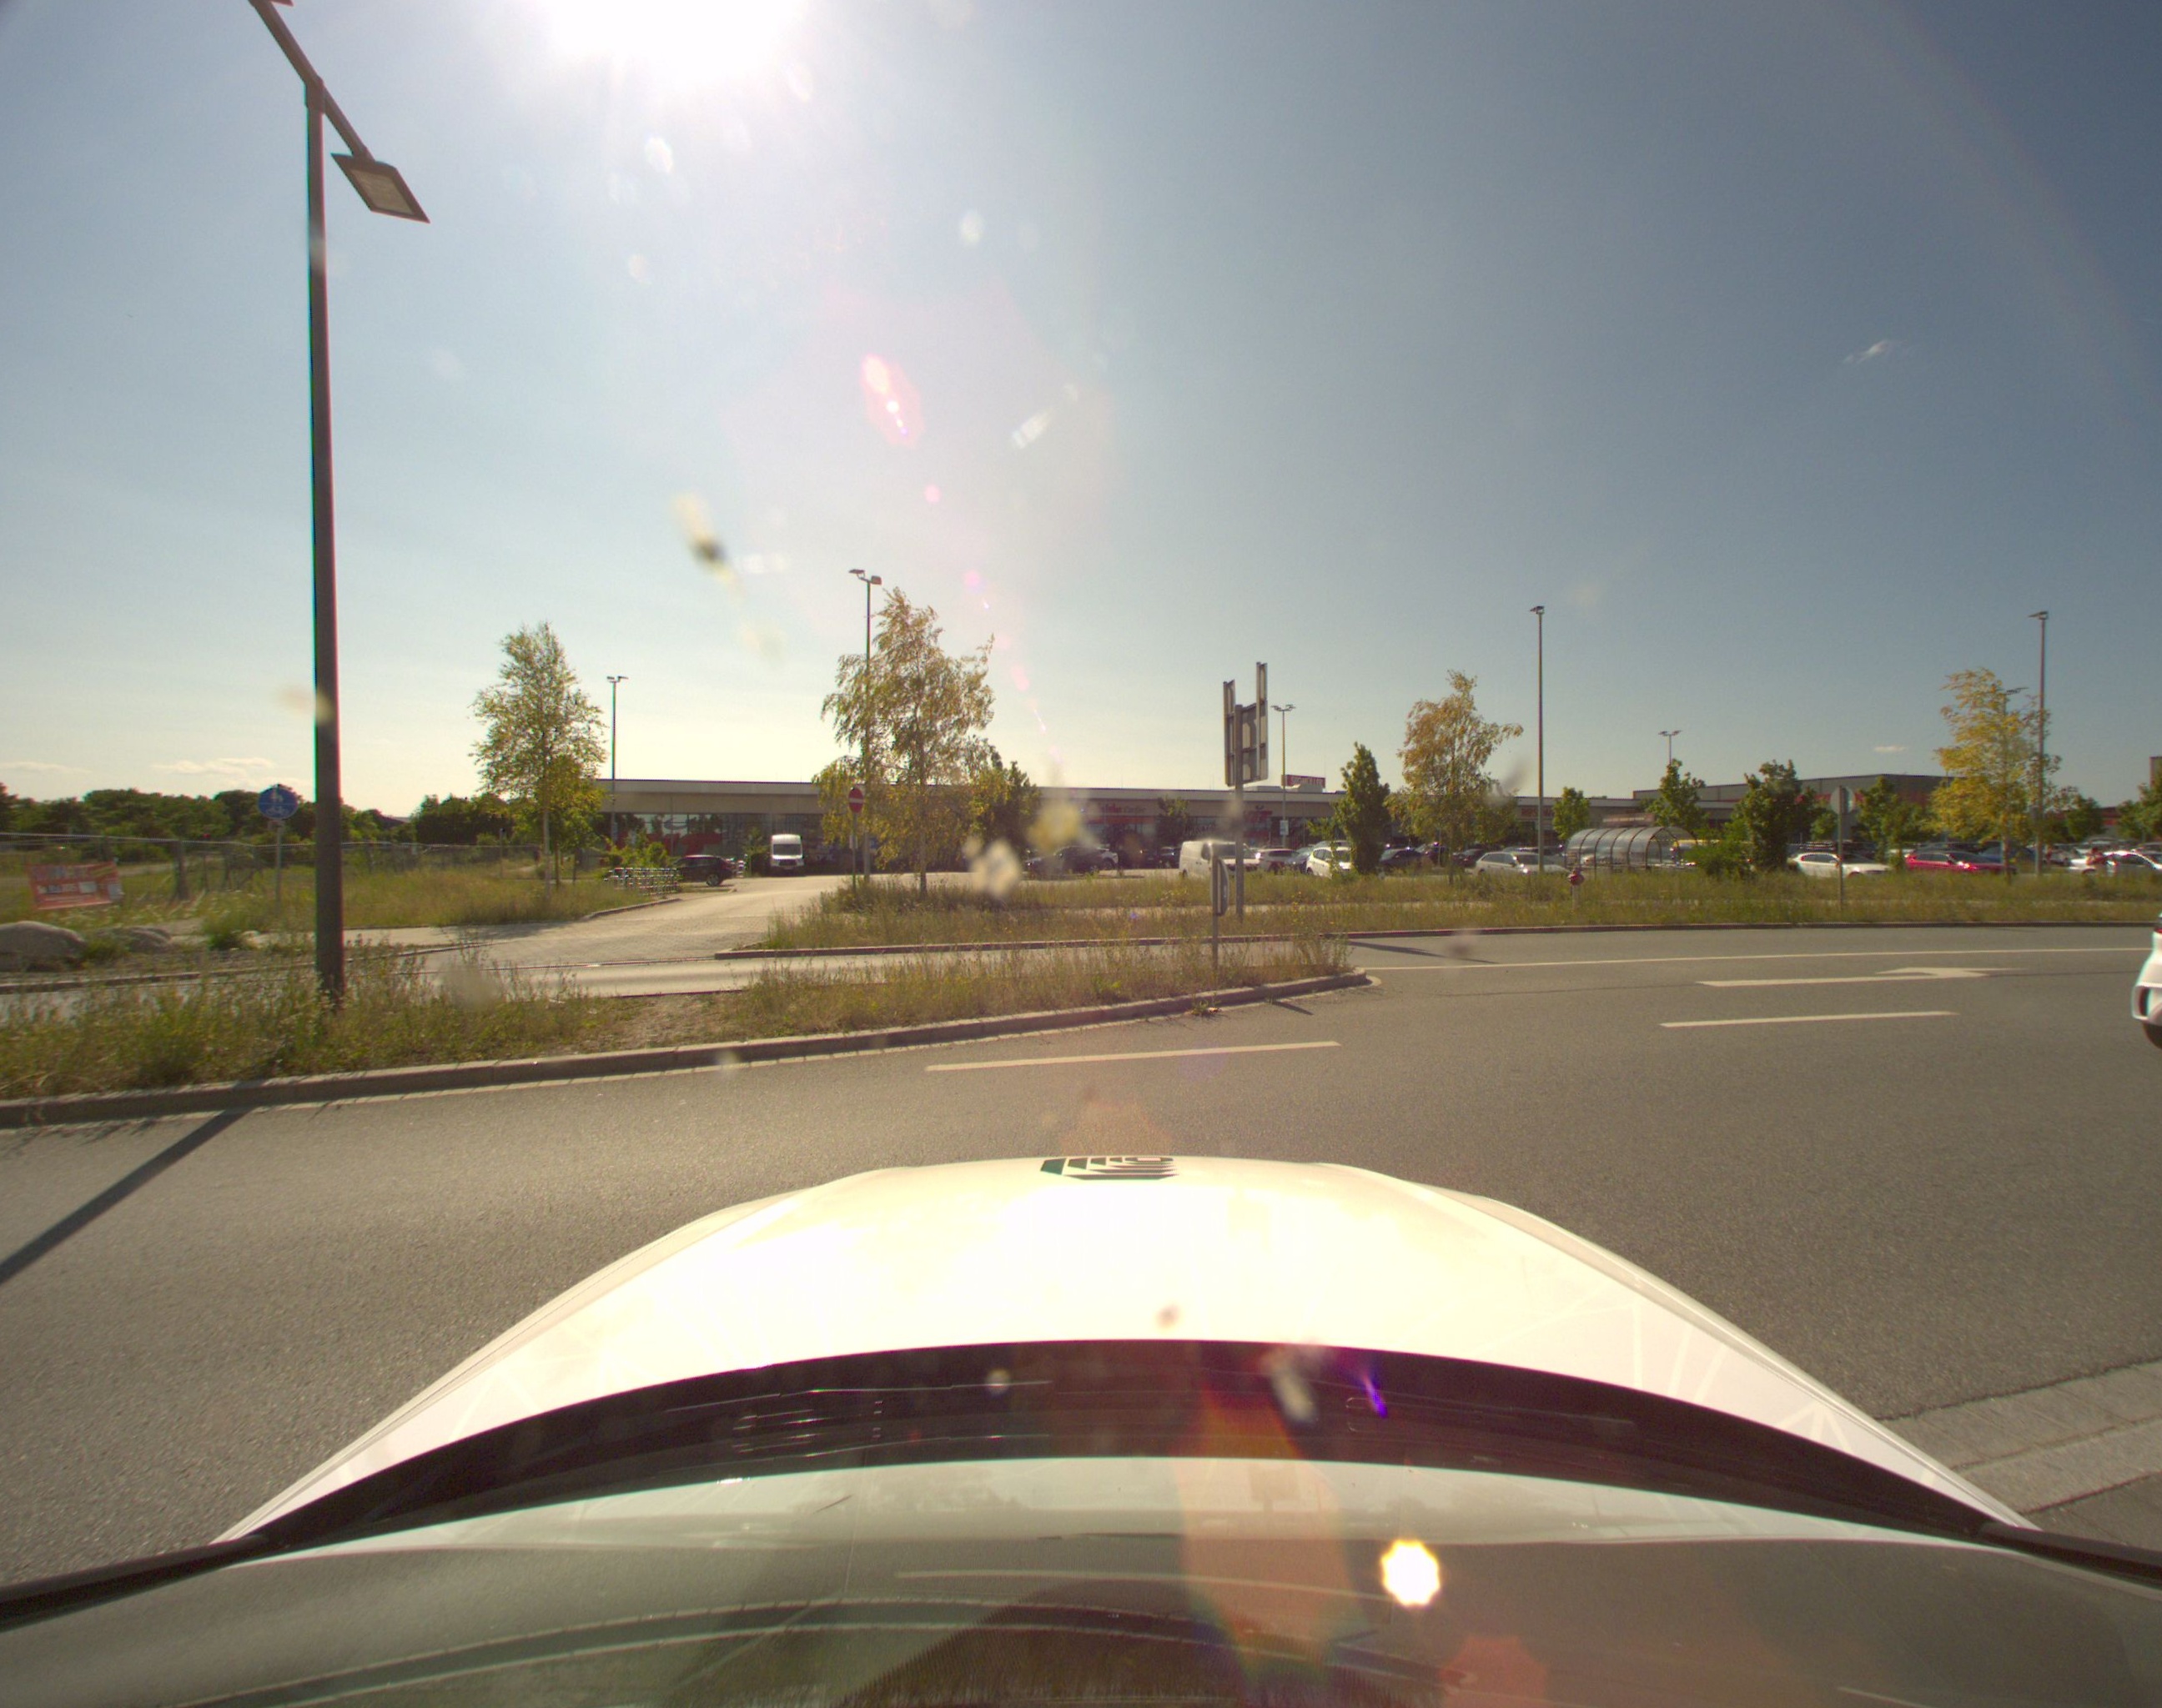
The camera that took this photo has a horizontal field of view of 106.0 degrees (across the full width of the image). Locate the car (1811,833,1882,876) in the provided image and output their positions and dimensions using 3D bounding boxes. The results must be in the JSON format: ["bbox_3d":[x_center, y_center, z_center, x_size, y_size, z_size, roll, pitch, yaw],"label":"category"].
[{"bbox_3d":[52.453,0.042,55.826,4.491,2.821,1.984,0,0,-24],"label":"car"}]

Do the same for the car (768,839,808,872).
[{"bbox_3d":[-19.299,0.055,53.414,2.231,1.977,6.647,-1,1,-22],"label":"car"}]

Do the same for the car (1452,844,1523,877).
[{"bbox_3d":[27.589,0.437,55.283,4.491,2.191,1.984,0,0,-24],"label":"car"}]

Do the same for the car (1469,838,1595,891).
[{"bbox_3d":[18.345,0.365,33.467,2.153,2.013,5.109,0,0,-4],"label":"car"}]

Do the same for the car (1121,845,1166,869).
[{"bbox_3d":[4.655,0.212,61.087,2.000,1.707,3.974,-1,1,-19],"label":"car"}]

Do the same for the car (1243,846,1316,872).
[{"bbox_3d":[11.273,0.271,46.215,3.734,1.390,1.719,-1,0,-22],"label":"car"}]

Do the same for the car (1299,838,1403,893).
[{"bbox_3d":[10.602,0.387,32.436,2.153,2.013,5.109,0,0,-4],"label":"car"}]

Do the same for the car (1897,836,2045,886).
[{"bbox_3d":[37.941,0.245,34.888,1.870,2.013,4.139,0,0,1],"label":"car"}]

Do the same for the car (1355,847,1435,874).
[{"bbox_3d":[17.872,0.366,46.361,3.996,1.508,1.864,0,0,-17],"label":"car"}]

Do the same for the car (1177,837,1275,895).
[{"bbox_3d":[5.465,0.397,31.499,2.081,2.013,5.210,0,0,-10],"label":"car"}]

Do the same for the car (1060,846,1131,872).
[{"bbox_3d":[0.987,0.353,54.976,4.479,1.706,1.865,0,0,-15],"label":"car"}]

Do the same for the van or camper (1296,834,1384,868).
[{"bbox_3d":[16.389,-0.201,51.553,5.046,2.013,1.989,-1,0,-16],"label":"van or camper"}]

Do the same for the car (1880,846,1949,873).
[{"bbox_3d":[64.639,0.417,63.150,4.482,2.038,1.988,0,0,-18],"label":"car"}]

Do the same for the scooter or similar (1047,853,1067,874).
[{"bbox_3d":[-1.260,0.501,43.278,0.944,1.079,0.649,-1,0,-14],"label":"scooter or similar"}]

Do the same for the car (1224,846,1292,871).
[{"bbox_3d":[10.699,0.262,49.196,3.734,1.390,1.719,-1,0,-22],"label":"car"}]

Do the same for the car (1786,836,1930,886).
[{"bbox_3d":[33.065,0.256,34.840,1.932,2.013,4.408,0,0,-1],"label":"car"}]

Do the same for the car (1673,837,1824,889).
[{"bbox_3d":[28.032,0.337,34.475,2.151,2.013,5.113,0,0,-1],"label":"car"}]

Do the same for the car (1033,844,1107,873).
[{"bbox_3d":[-0.614,0.248,45.236,3.804,1.508,1.721,-1,0,-18],"label":"car"}]

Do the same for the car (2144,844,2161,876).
[{"bbox_3d":[69.550,0.364,51.167,4.482,2.038,1.988,0,0,-18],"label":"car"}]

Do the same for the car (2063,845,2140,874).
[{"bbox_3d":[72.612,0.375,57.967,4.482,2.038,1.988,0,0,-18],"label":"car"}]

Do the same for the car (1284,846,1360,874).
[{"bbox_3d":[13.028,0.297,44.037,3.734,1.390,1.719,-1,0,-22],"label":"car"}]

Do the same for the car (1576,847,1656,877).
[{"bbox_3d":[34.535,0.521,52.629,4.482,1.863,1.988,0,0,-18],"label":"car"}]

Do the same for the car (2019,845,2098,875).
[{"bbox_3d":[67.342,0.387,56.101,4.482,2.038,1.988,0,0,-18],"label":"car"}]

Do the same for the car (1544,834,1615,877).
[{"bbox_3d":[33.896,0.101,55.375,4.491,2.821,1.984,0,0,-24],"label":"car"}]

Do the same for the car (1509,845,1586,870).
[{"bbox_3d":[28.899,0.198,50.478,4.345,1.520,1.646,0,0,-17],"label":"car"}]

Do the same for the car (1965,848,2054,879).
[{"bbox_3d":[55.292,0.529,48.502,4.313,1.784,1.988,0,0,-18],"label":"car"}]

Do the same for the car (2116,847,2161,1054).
[{"bbox_3d":[9.349,0.691,5.630,2.991,1.490,1.474,0,0,-10],"label":"car"}]

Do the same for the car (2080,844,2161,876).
[{"bbox_3d":[68.383,0.375,53.526,4.482,2.038,1.988,0,0,-18],"label":"car"}]

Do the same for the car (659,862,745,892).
[{"bbox_3d":[-19.106,1.143,41.212,3.848,1.423,1.759,0,0,-22],"label":"car"}]

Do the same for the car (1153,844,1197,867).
[{"bbox_3d":[7.131,0.098,62.183,1.997,1.707,3.980,-1,1,-15],"label":"car"}]

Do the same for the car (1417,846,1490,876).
[{"bbox_3d":[26.618,0.493,58.217,4.476,2.103,1.990,0,0,-14],"label":"car"}]
